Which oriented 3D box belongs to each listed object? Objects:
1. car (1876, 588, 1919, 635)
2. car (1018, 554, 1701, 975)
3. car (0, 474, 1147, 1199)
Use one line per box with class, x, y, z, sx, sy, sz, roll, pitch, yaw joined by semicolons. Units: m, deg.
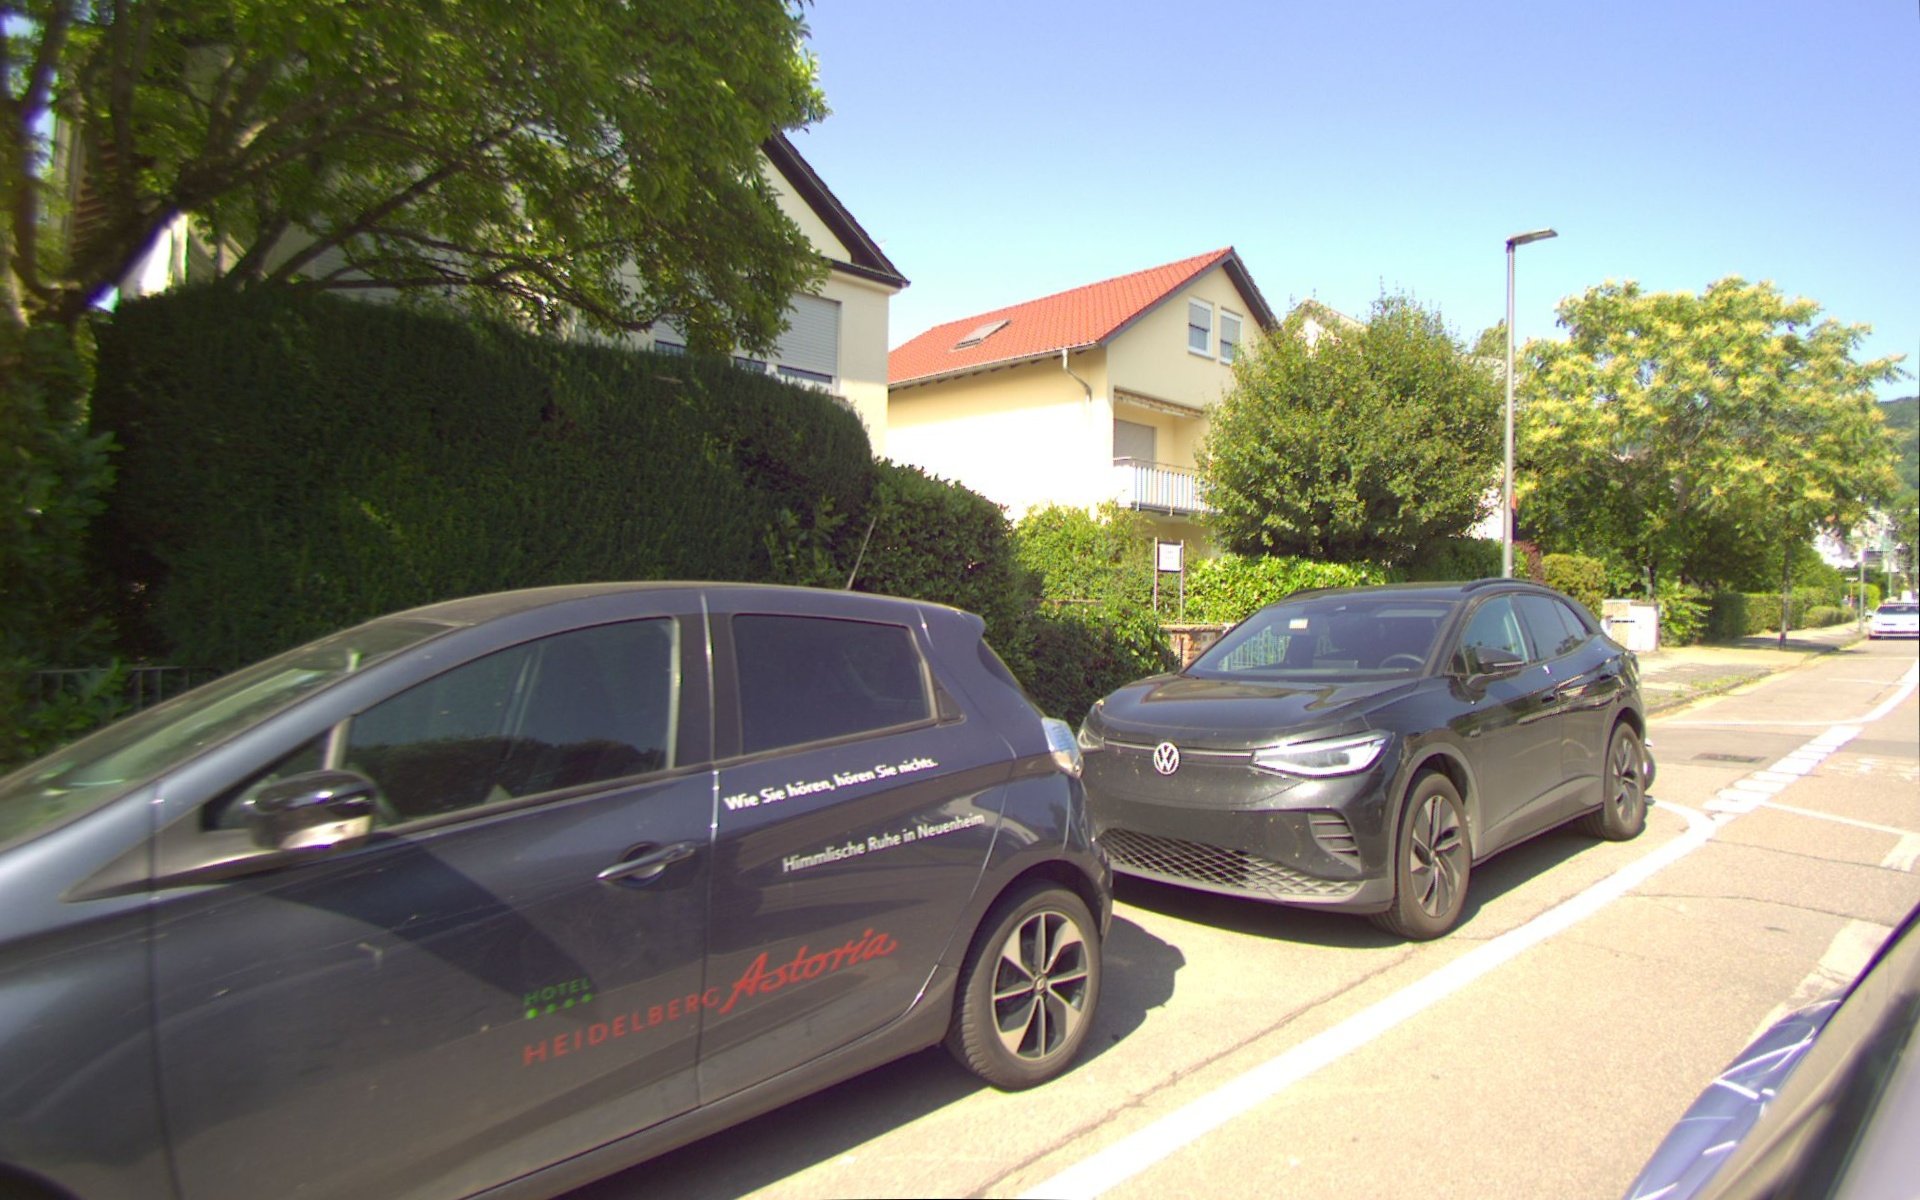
car;36.415;0.410;38.720;1.993;1.727;3.939;0;0;42
car;2.609;0.651;5.980;4.518;1.579;1.815;0;-2;-40
car;-1.448;0.649;2.788;3.848;1.579;1.814;0;-4;-41
